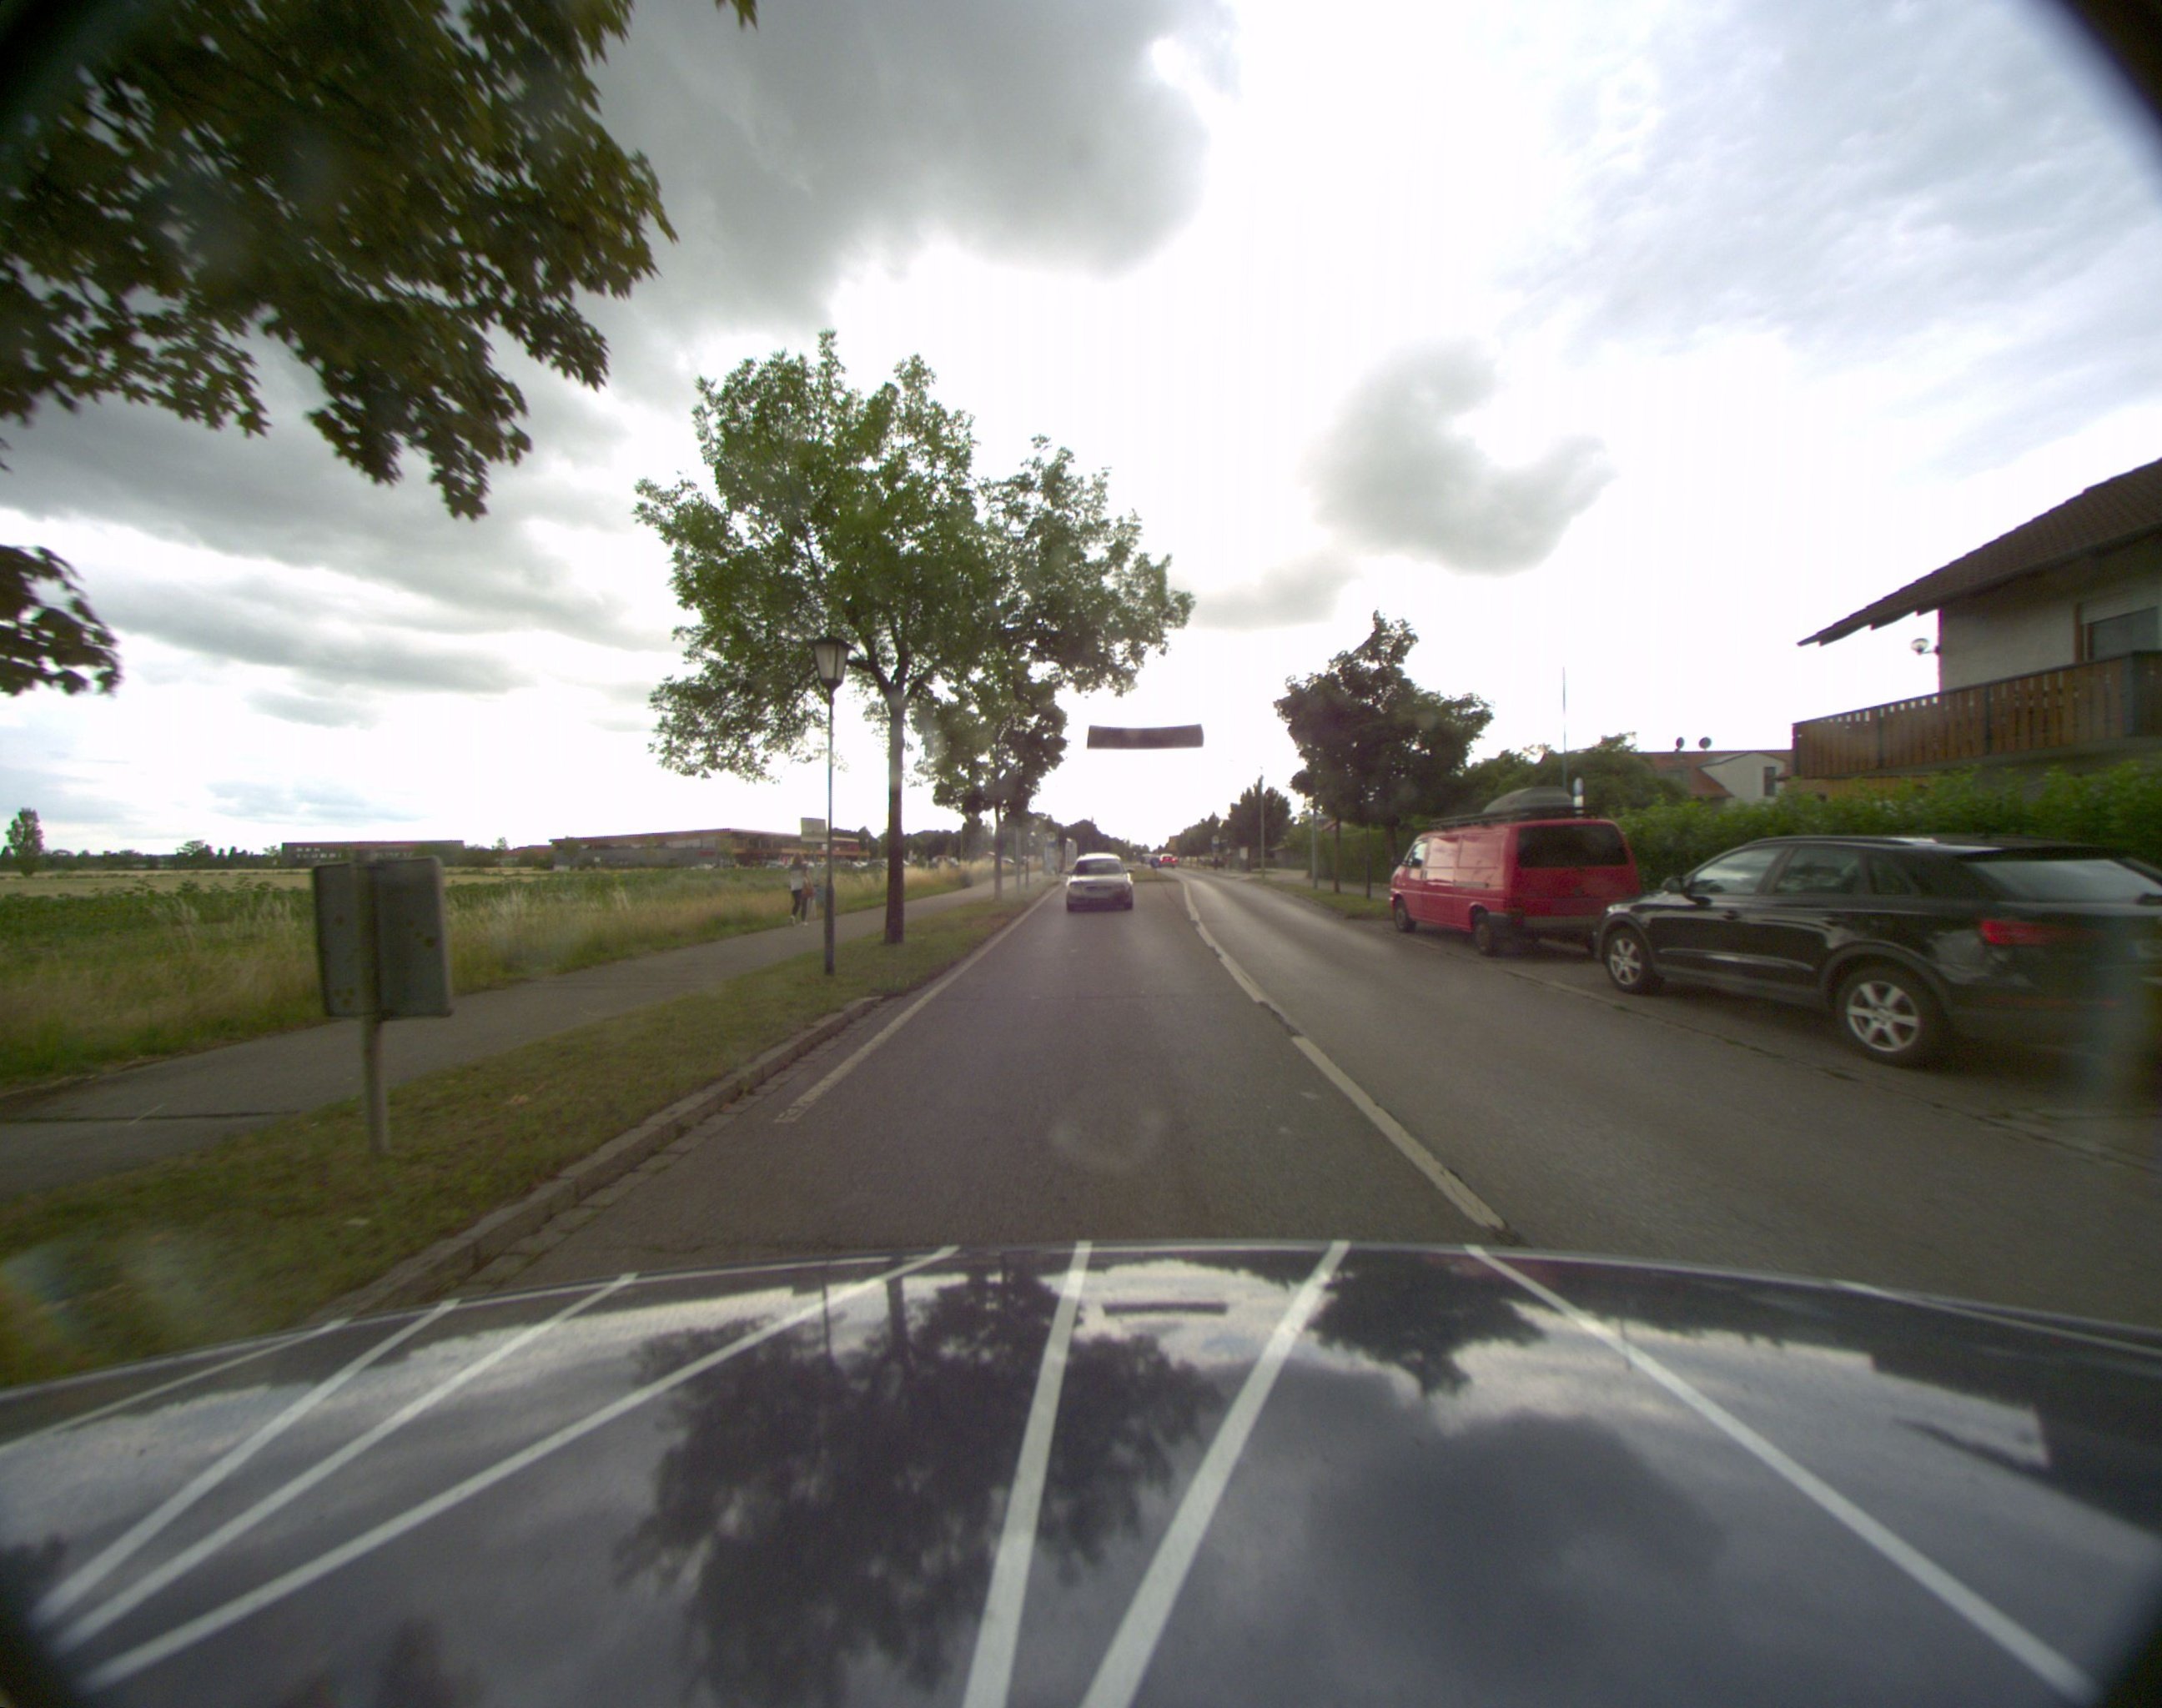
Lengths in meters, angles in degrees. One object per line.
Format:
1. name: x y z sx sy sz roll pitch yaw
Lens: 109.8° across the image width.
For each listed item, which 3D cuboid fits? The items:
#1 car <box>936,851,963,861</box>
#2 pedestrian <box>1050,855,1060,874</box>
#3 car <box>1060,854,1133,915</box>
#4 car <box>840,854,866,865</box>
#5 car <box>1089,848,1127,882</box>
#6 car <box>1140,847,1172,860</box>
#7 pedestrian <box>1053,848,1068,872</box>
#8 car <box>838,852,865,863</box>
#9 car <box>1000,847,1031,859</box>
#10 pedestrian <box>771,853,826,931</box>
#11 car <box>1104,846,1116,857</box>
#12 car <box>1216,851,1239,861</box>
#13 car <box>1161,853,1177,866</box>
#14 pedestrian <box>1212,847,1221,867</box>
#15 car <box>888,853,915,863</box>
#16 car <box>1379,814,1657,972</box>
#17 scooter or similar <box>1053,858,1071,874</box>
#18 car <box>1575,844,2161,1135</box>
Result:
1. car: -28.904 0.351 166.659 5.526 2.002 1.999 -2 1 -4
2. pedestrian: -1.875 0.760 54.568 0.666 1.295 0.505 -2 1 3
3. car: 0.493 0.757 21.224 1.763 1.410 4.520 -2 0 3
4. car: -48.118 1.097 160.326 4.857 2.002 1.999 -2 1 -5
5. car: 1.370 0.507 38.253 1.763 1.495 4.691 -2 0 3
6. car: 13.247 -0.056 134.892 5.323 2.002 1.996 -3 1 -24
7. pedestrian: -1.590 0.483 58.354 0.782 1.782 0.780 -2 1 24
8. car: -46.493 0.665 153.877 4.857 2.002 1.999 -2 1 -5
9. car: -12.203 -0.116 142.030 5.526 2.002 1.999 -2 1 -4
10. pedestrian: -6.493 0.862 17.514 0.839 1.745 0.870 -1 1 7
11. car: 5.064 -0.409 134.789 1.998 2.002 4.000 0 0 0
12. car: 30.701 0.455 159.758 4.567 2.002 2.001 -2 1 7
13. car: 10.210 0.610 88.021 1.710 1.523 3.508 1 0 5
14. pedestrian: 11.274 0.229 63.122 0.589 1.627 0.813 -1 1 2
15. car: -40.625 0.922 171.948 5.526 2.002 1.999 -2 1 -4
16. car: 6.601 0.498 12.279 1.834 2.018 5.047 -1 0 3
17. scooter or similar: -1.361 0.858 54.803 0.707 1.056 1.062 -1 1 39
18. car: 6.285 0.753 6.295 1.775 1.588 4.239 -2 0 3
